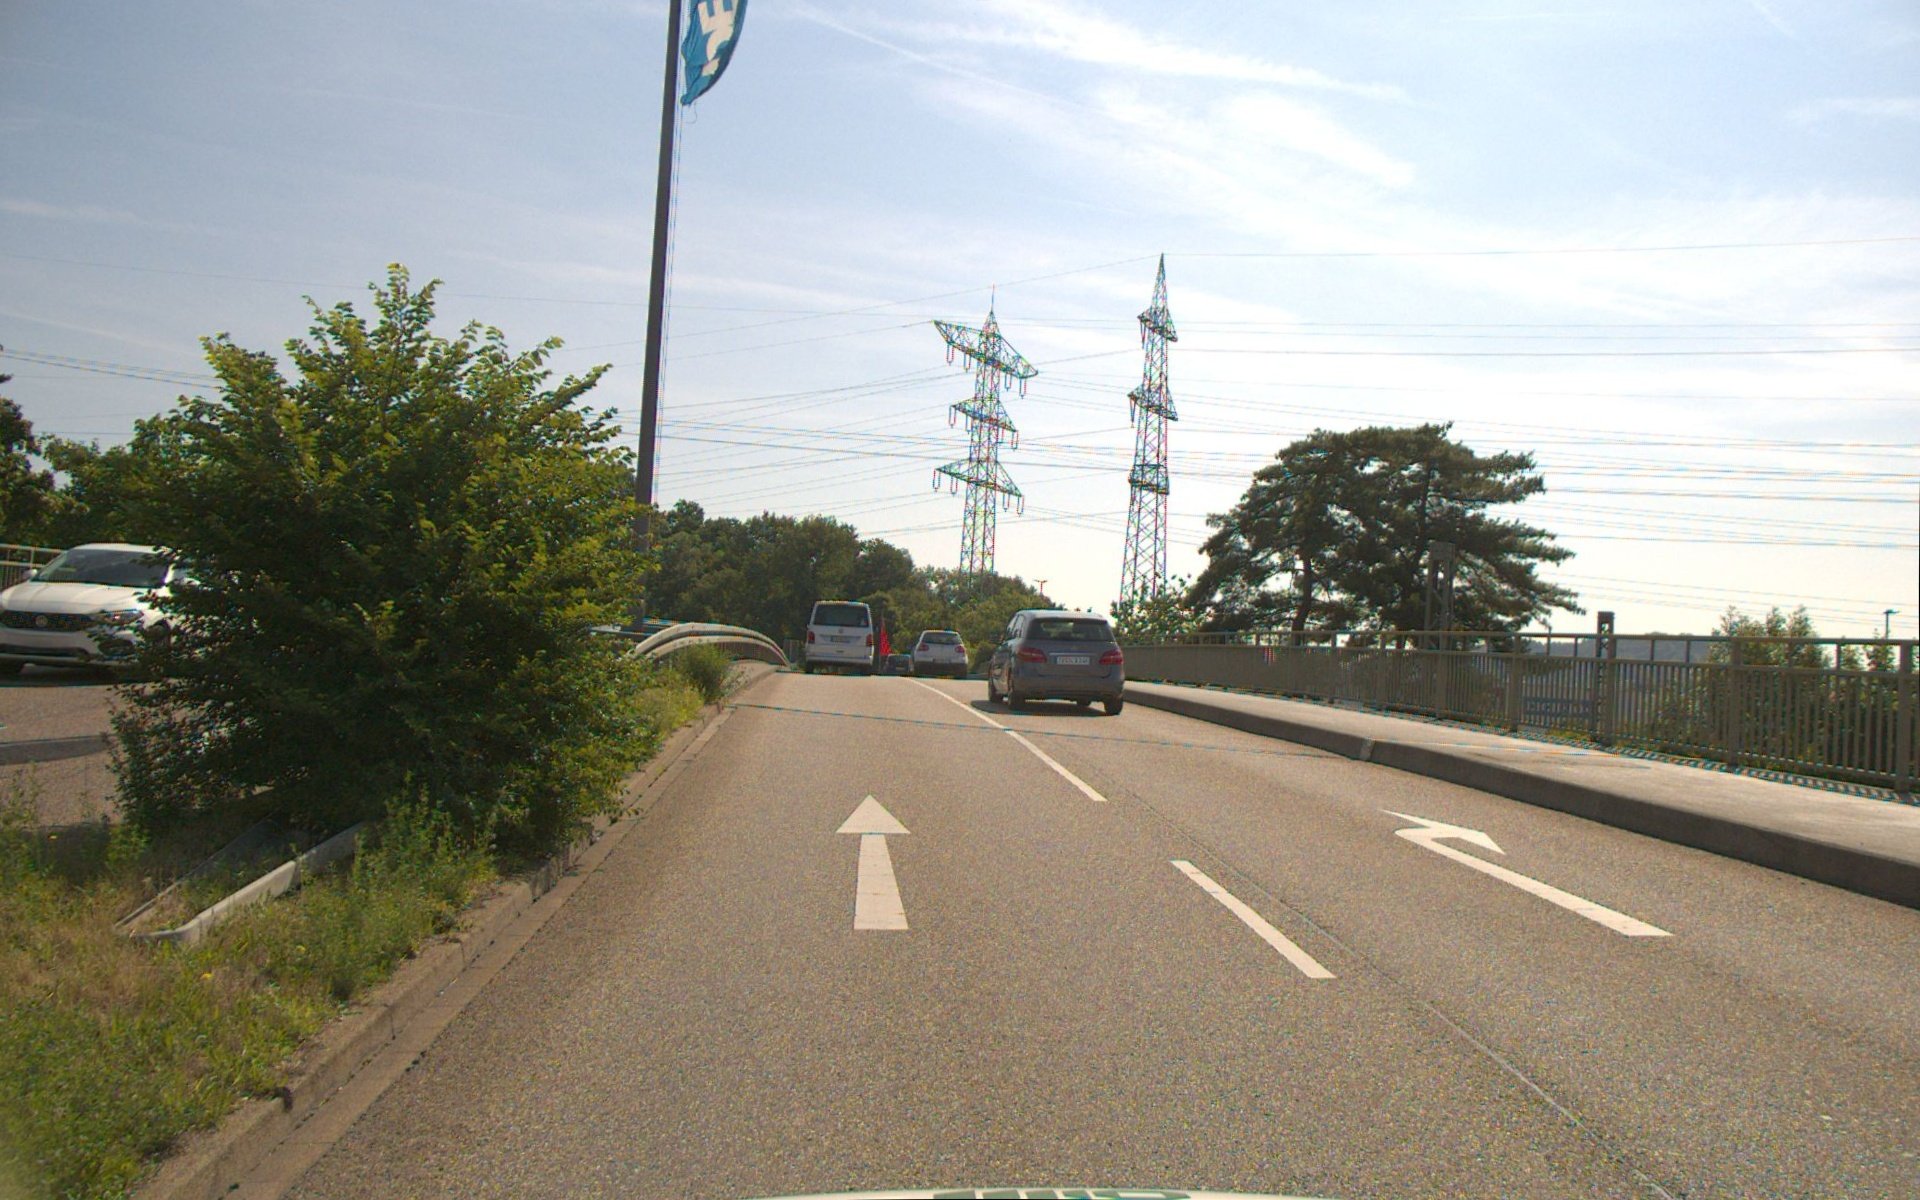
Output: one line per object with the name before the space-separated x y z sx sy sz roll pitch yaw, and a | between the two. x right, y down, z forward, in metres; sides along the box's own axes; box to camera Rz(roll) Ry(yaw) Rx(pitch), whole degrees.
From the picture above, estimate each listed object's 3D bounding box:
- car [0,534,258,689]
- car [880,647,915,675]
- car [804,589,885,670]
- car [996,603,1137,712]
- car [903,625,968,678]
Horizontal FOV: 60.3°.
car | -9.729 0.132 19.039 1.761 1.578 3.997 1 0 -4
car | -3.238 3.144 85.001 1.738 1.355 3.738 2 -2 -3
car | -3.181 0.804 46.261 1.998 2.049 3.999 3 0 -1
car | 1.621 0.875 26.558 1.819 1.556 4.142 2 -1 -2
car | -0.817 1.633 52.610 1.819 1.556 4.140 2 -2 -4
